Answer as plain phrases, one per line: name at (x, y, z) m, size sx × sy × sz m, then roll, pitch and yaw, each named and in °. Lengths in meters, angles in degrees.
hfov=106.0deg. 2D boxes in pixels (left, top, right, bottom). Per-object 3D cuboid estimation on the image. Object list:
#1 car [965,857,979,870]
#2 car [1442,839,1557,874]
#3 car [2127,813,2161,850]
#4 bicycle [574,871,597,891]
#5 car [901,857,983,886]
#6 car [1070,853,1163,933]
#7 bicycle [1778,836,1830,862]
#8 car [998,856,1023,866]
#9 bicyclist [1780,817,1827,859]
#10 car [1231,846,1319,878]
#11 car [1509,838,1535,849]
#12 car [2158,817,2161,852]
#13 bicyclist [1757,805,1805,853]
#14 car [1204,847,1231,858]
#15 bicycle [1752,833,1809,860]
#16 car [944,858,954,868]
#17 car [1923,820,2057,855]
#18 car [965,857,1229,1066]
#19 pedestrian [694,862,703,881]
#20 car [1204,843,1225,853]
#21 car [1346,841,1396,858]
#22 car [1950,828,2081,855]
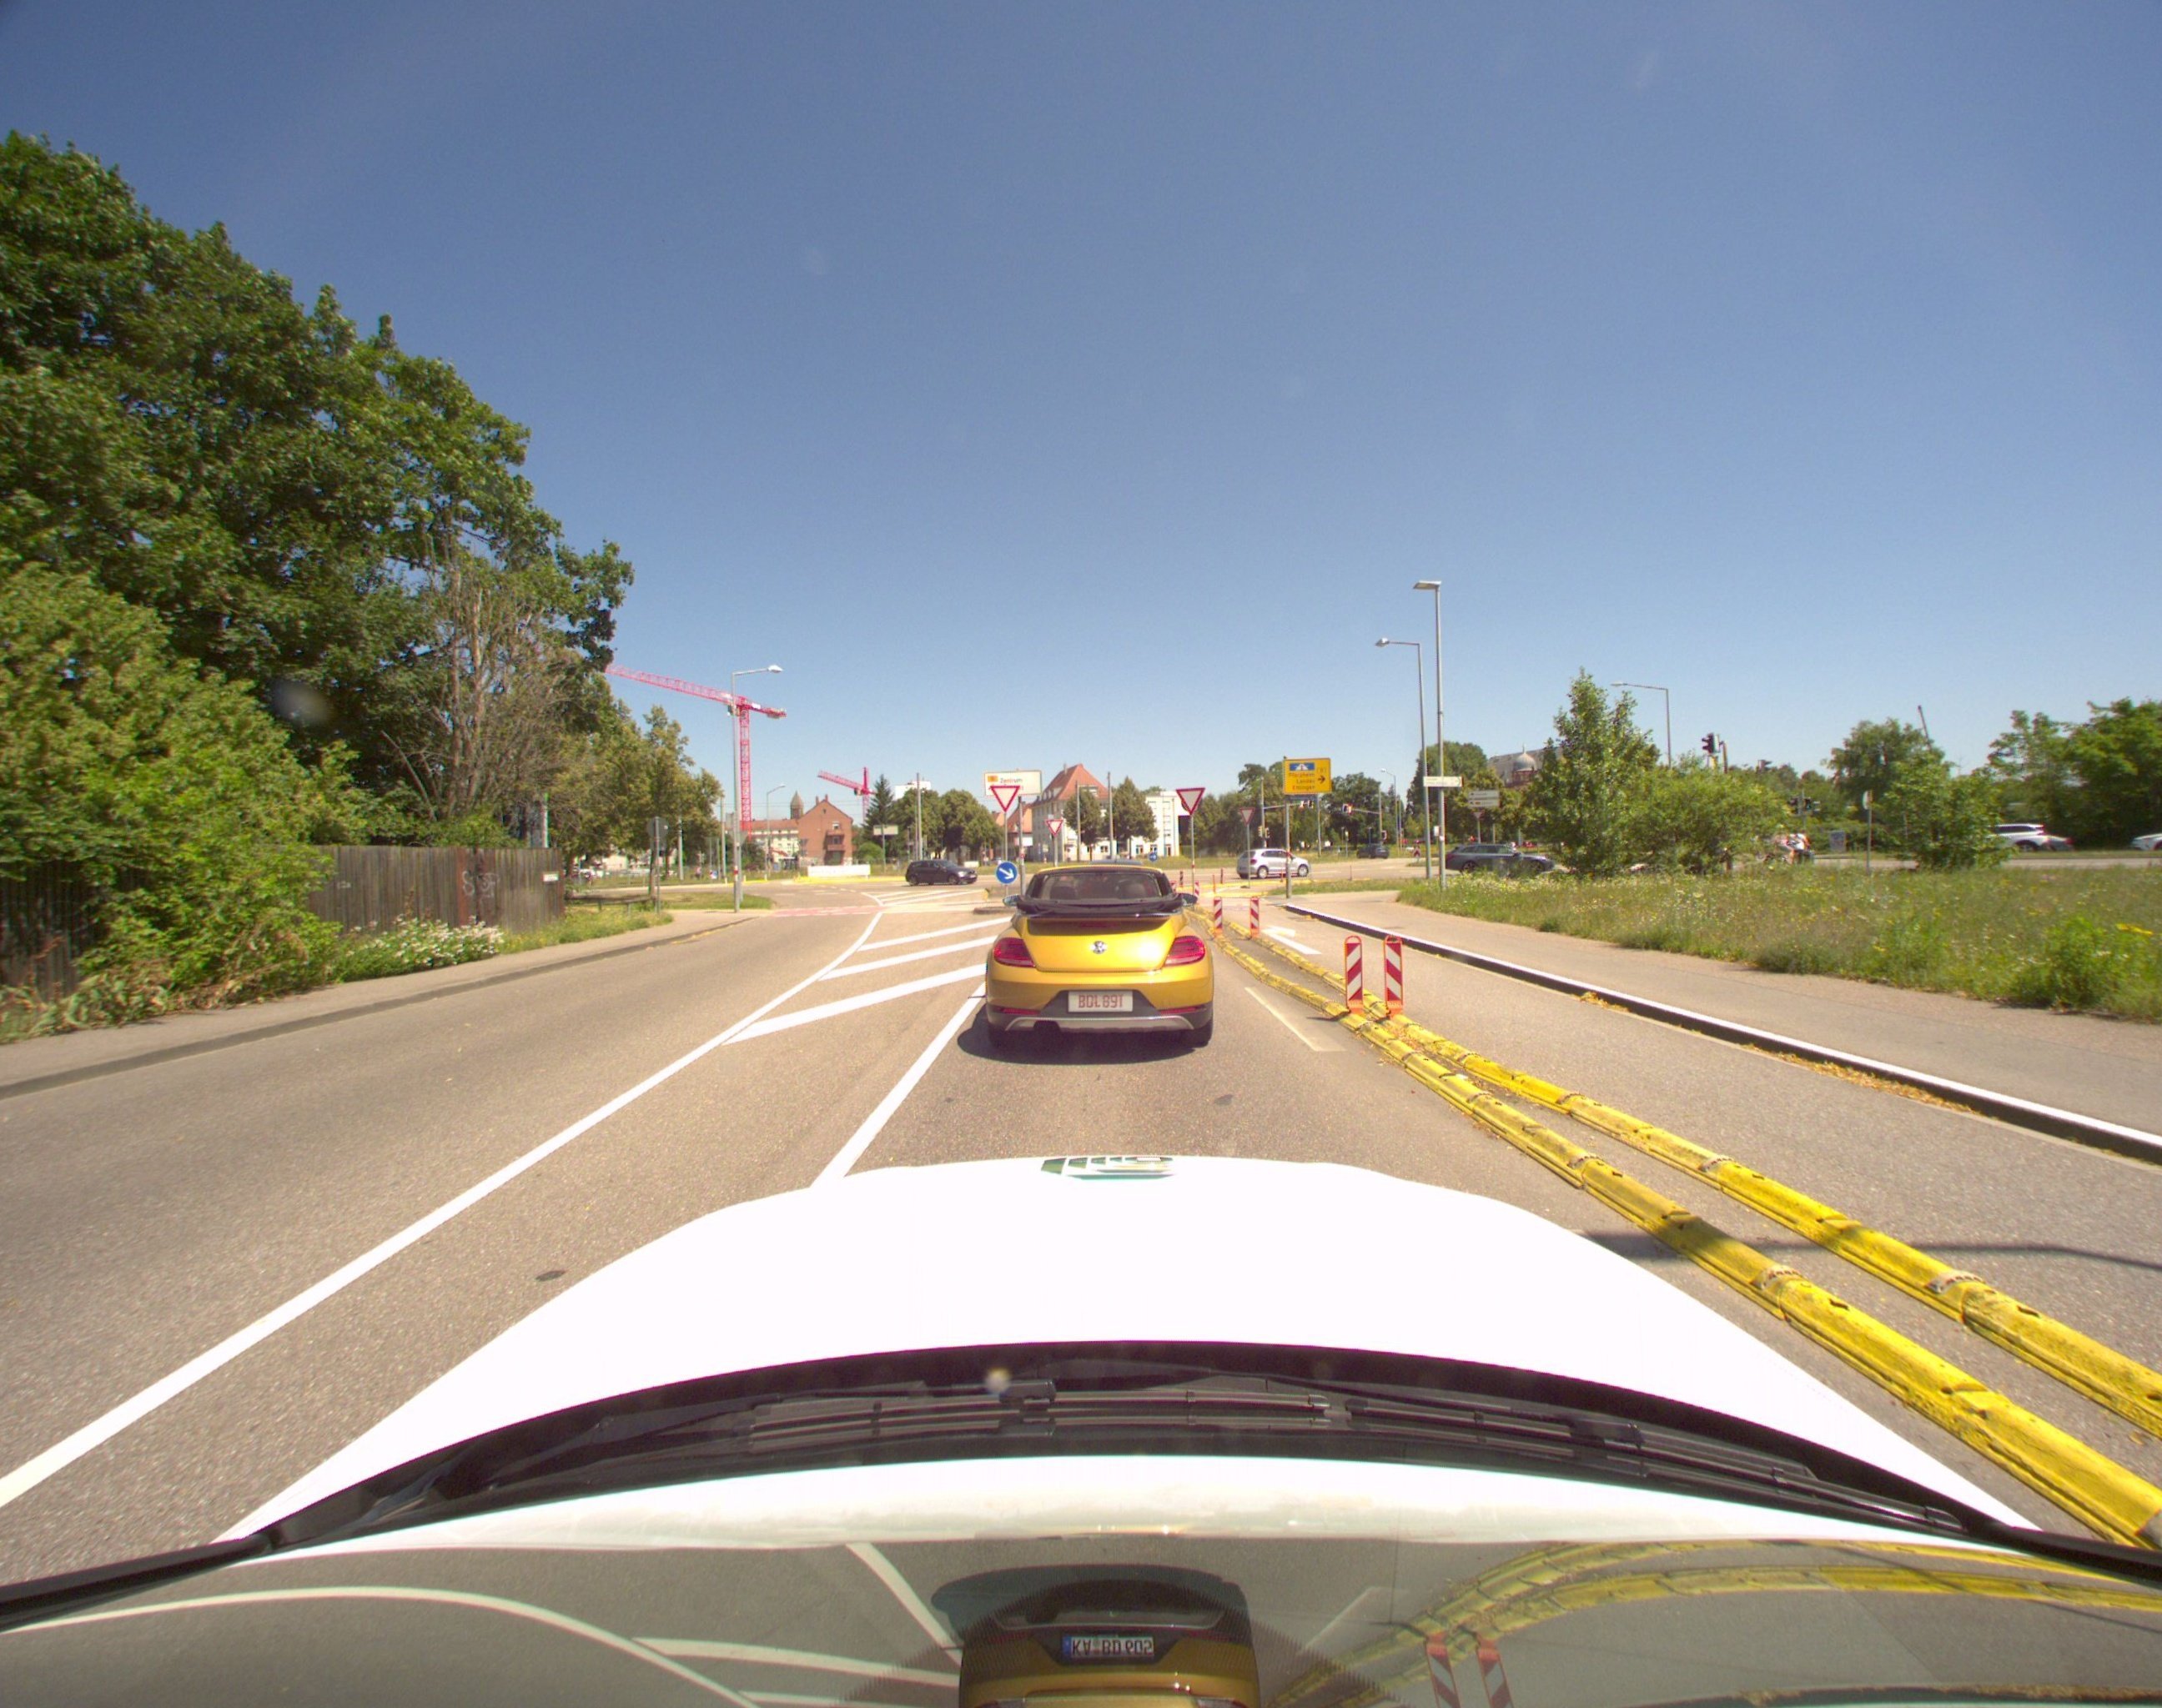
car at (-16.964, 1.446, 126.749) m, size 1.994 × 2.014 × 3.985 m, roll 0°, pitch -1°, yaw -11°
car at (18.983, 0.114, 37.129) m, size 4.404 × 1.418 × 2.010 m, roll -2°, pitch 0°, yaw 19°
car at (51.037, -1.099, 36.791) m, size 4.352 × 1.683 × 1.876 m, roll -2°, pitch 0°, yaw 44°
bicycle at (-42.430, 2.309, 69.783) m, size 0.556 × 1.684 × 2.087 m, roll 0°, pitch -1°, yaw 3°
car at (-7.568, 0.960, 44.344) m, size 4.032 × 1.403 × 1.763 m, roll -2°, pitch 1°, yaw 21°
car at (0.809, 0.763, 17.967) m, size 1.789 × 1.440 × 4.004 m, roll -2°, pitch 1°, yaw 3°
bicycle at (27.401, -0.212, 30.876) m, size 1.766 × 0.900 × 0.891 m, roll -3°, pitch 2°, yaw -27°
car at (-11.773, 1.156, 136.098) m, size 3.977 × 1.618 × 1.998 m, roll 0°, pitch -1°, yaw -2°
bicyclist at (27.375, -0.610, 30.856) m, size 1.189 × 1.531 × 0.951 m, roll -3°, pitch 1°, yaw -28°
car at (9.640, 0.382, 40.464) m, size 4.006 × 1.422 × 1.768 m, roll -2°, pitch 0°, yaw -25°
car at (82.638, -1.991, 152.689) m, size 3.949 × 2.014 × 2.012 m, roll -1°, pitch -1°, yaw 41°
car at (54.176, -0.987, 38.052) m, size 4.352 × 1.683 × 1.876 m, roll -2°, pitch 0°, yaw 44°
bicyclist at (24.114, -0.856, 28.057) m, size 1.190 × 1.610 × 0.950 m, roll -1°, pitch -1°, yaw -33°
car at (22.024, -0.284, 131.588) m, size 3.988 × 1.684 × 1.993 m, roll 0°, pitch -1°, yaw -11°
bicycle at (24.092, -0.259, 28.043) m, size 2.234 × 0.900 × 0.889 m, roll -1°, pitch 1°, yaw -33°
car at (-27.070, 1.854, 167.131) m, size 1.994 × 2.014 × 3.985 m, roll 0°, pitch -1°, yaw -11°
car at (45.896, -0.827, 41.286) m, size 4.352 × 1.618 × 1.876 m, roll -2°, pitch 0°, yaw 44°
car at (0.171, 0.757, 7.503) m, size 1.819 × 1.403 × 3.663 m, roll -1°, pitch 0°, yaw 2°
pedestrian at (-41.433, 1.899, 88.234) m, size 0.599 × 2.014 × 0.595 m, roll 0°, pitch -1°, yaw 1°
car at (27.600, -1.297, 168.661) m, size 3.956 × 2.014 × 2.009 m, roll -1°, pitch -1°, yaw 16°
car at (26.622, -0.417, 74.815) m, size 2.006 × 1.464 × 3.962 m, roll 0°, pitch -1°, yaw -30°
car at (48.938, -0.633, 42.805) m, size 4.352 × 1.270 × 1.876 m, roll -2°, pitch 0°, yaw 44°
